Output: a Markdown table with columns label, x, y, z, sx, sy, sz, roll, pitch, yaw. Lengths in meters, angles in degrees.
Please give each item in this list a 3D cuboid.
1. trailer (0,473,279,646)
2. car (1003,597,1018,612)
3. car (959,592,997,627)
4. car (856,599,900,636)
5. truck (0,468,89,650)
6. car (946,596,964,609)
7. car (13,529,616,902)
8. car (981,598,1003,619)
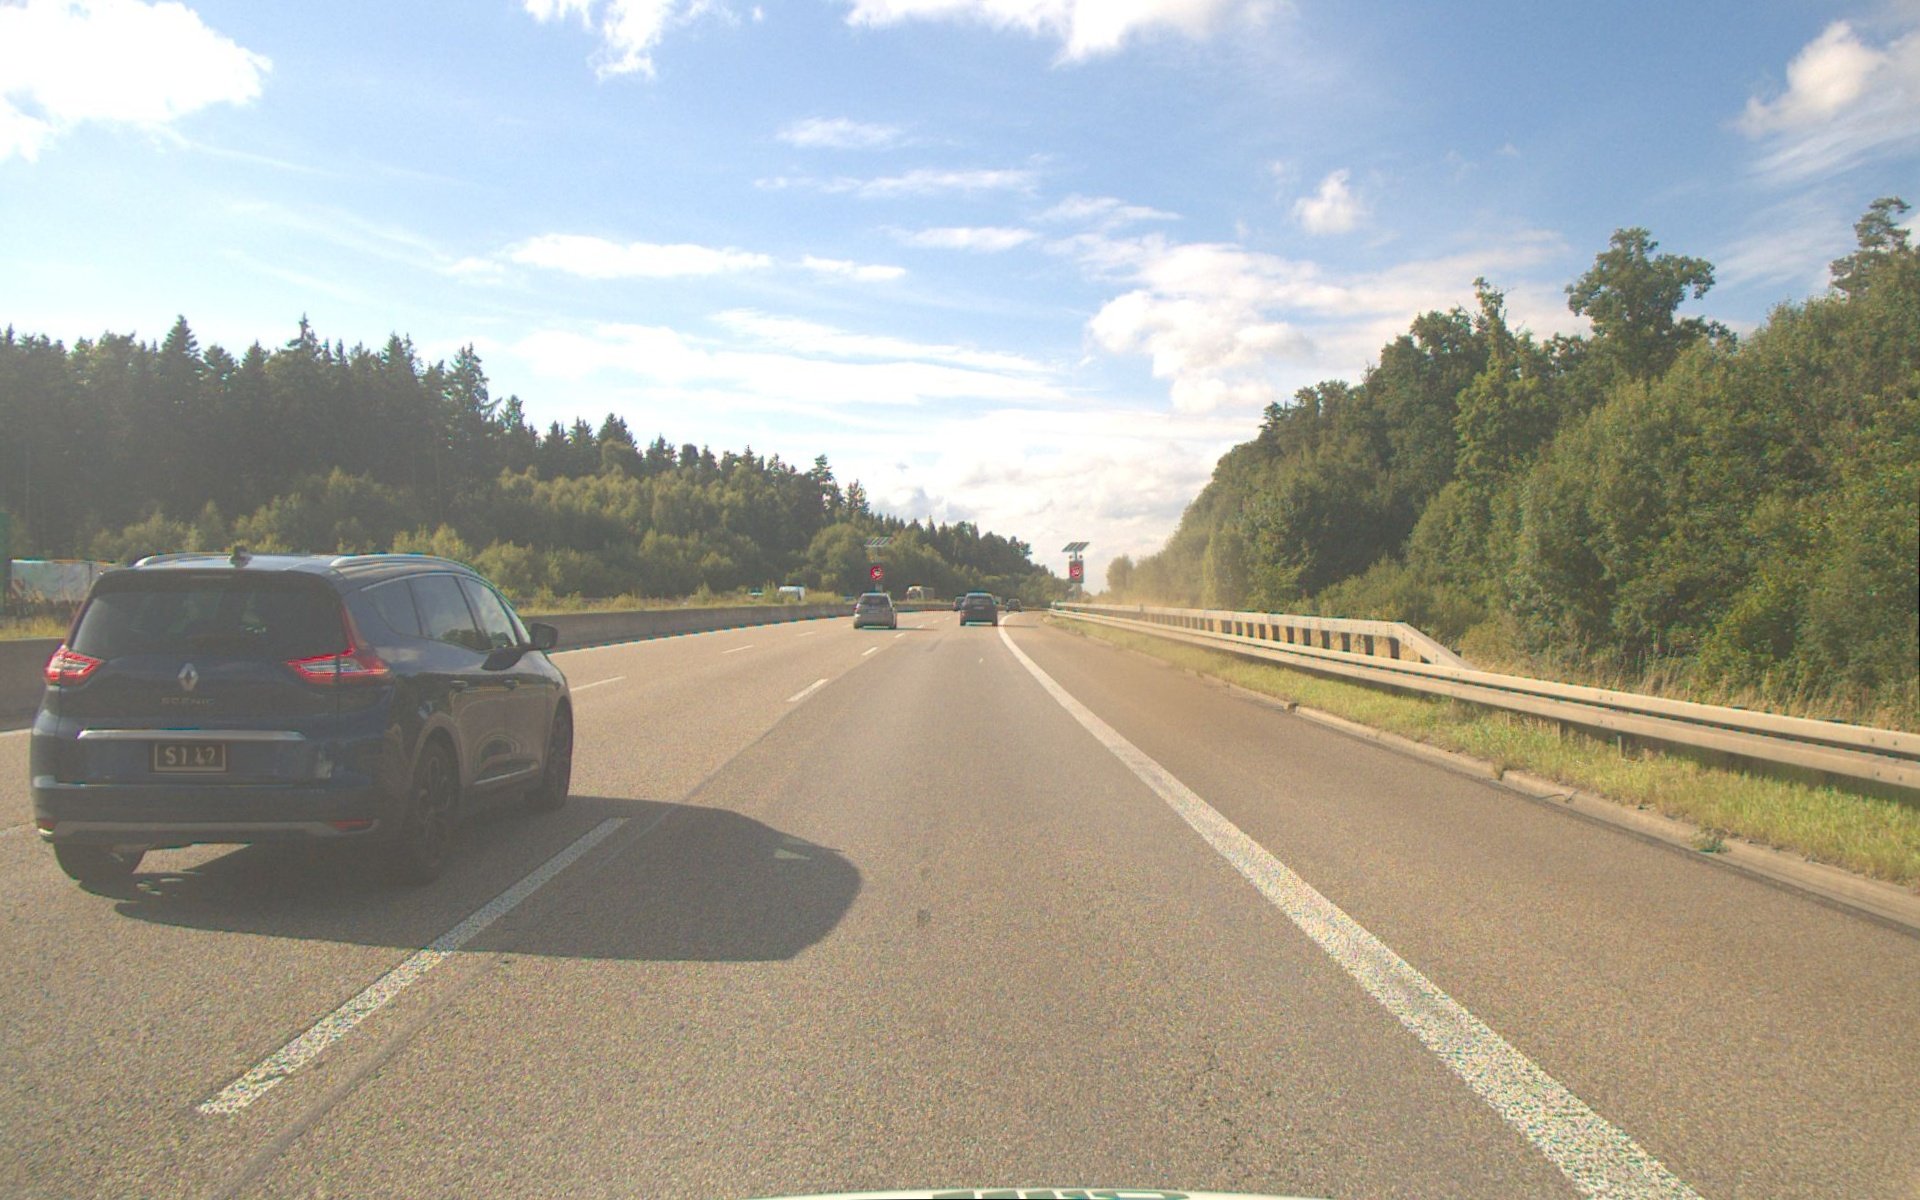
| label | x | y | z | sx | sy | sz | roll | pitch | yaw |
| --- | --- | --- | --- | --- | --- | --- | --- | --- | --- |
| trailer | -23.310 | -0.993 | 45.778 | 3.306 | 4.079 | 13.639 | 1 | 0 | 0 |
| car | 6.184 | 0.551 | 201.141 | 1.774 | 1.735 | 4.002 | 0 | 0 | 3 |
| car | 0.912 | 0.475 | 84.566 | 1.835 | 1.704 | 3.889 | 1 | 1 | 0 |
| car | -3.608 | 0.745 | 73.302 | 1.836 | 1.523 | 3.878 | 1 | 1 | -2 |
| truck | -23.278 | -0.944 | 38.092 | 3.306 | 4.079 | 5.863 | 1 | 0 | 0 |
| car | -0.540 | 0.300 | 192.677 | 1.834 | 1.523 | 3.882 | 1 | 1 | 4 |
| car | -3.498 | 0.532 | 10.038 | 1.953 | 1.736 | 4.528 | 1 | 0 | -1 |
| car | 3.291 | 0.824 | 168.999 | 1.953 | 2.049 | 3.998 | 1 | 0 | -3 |
